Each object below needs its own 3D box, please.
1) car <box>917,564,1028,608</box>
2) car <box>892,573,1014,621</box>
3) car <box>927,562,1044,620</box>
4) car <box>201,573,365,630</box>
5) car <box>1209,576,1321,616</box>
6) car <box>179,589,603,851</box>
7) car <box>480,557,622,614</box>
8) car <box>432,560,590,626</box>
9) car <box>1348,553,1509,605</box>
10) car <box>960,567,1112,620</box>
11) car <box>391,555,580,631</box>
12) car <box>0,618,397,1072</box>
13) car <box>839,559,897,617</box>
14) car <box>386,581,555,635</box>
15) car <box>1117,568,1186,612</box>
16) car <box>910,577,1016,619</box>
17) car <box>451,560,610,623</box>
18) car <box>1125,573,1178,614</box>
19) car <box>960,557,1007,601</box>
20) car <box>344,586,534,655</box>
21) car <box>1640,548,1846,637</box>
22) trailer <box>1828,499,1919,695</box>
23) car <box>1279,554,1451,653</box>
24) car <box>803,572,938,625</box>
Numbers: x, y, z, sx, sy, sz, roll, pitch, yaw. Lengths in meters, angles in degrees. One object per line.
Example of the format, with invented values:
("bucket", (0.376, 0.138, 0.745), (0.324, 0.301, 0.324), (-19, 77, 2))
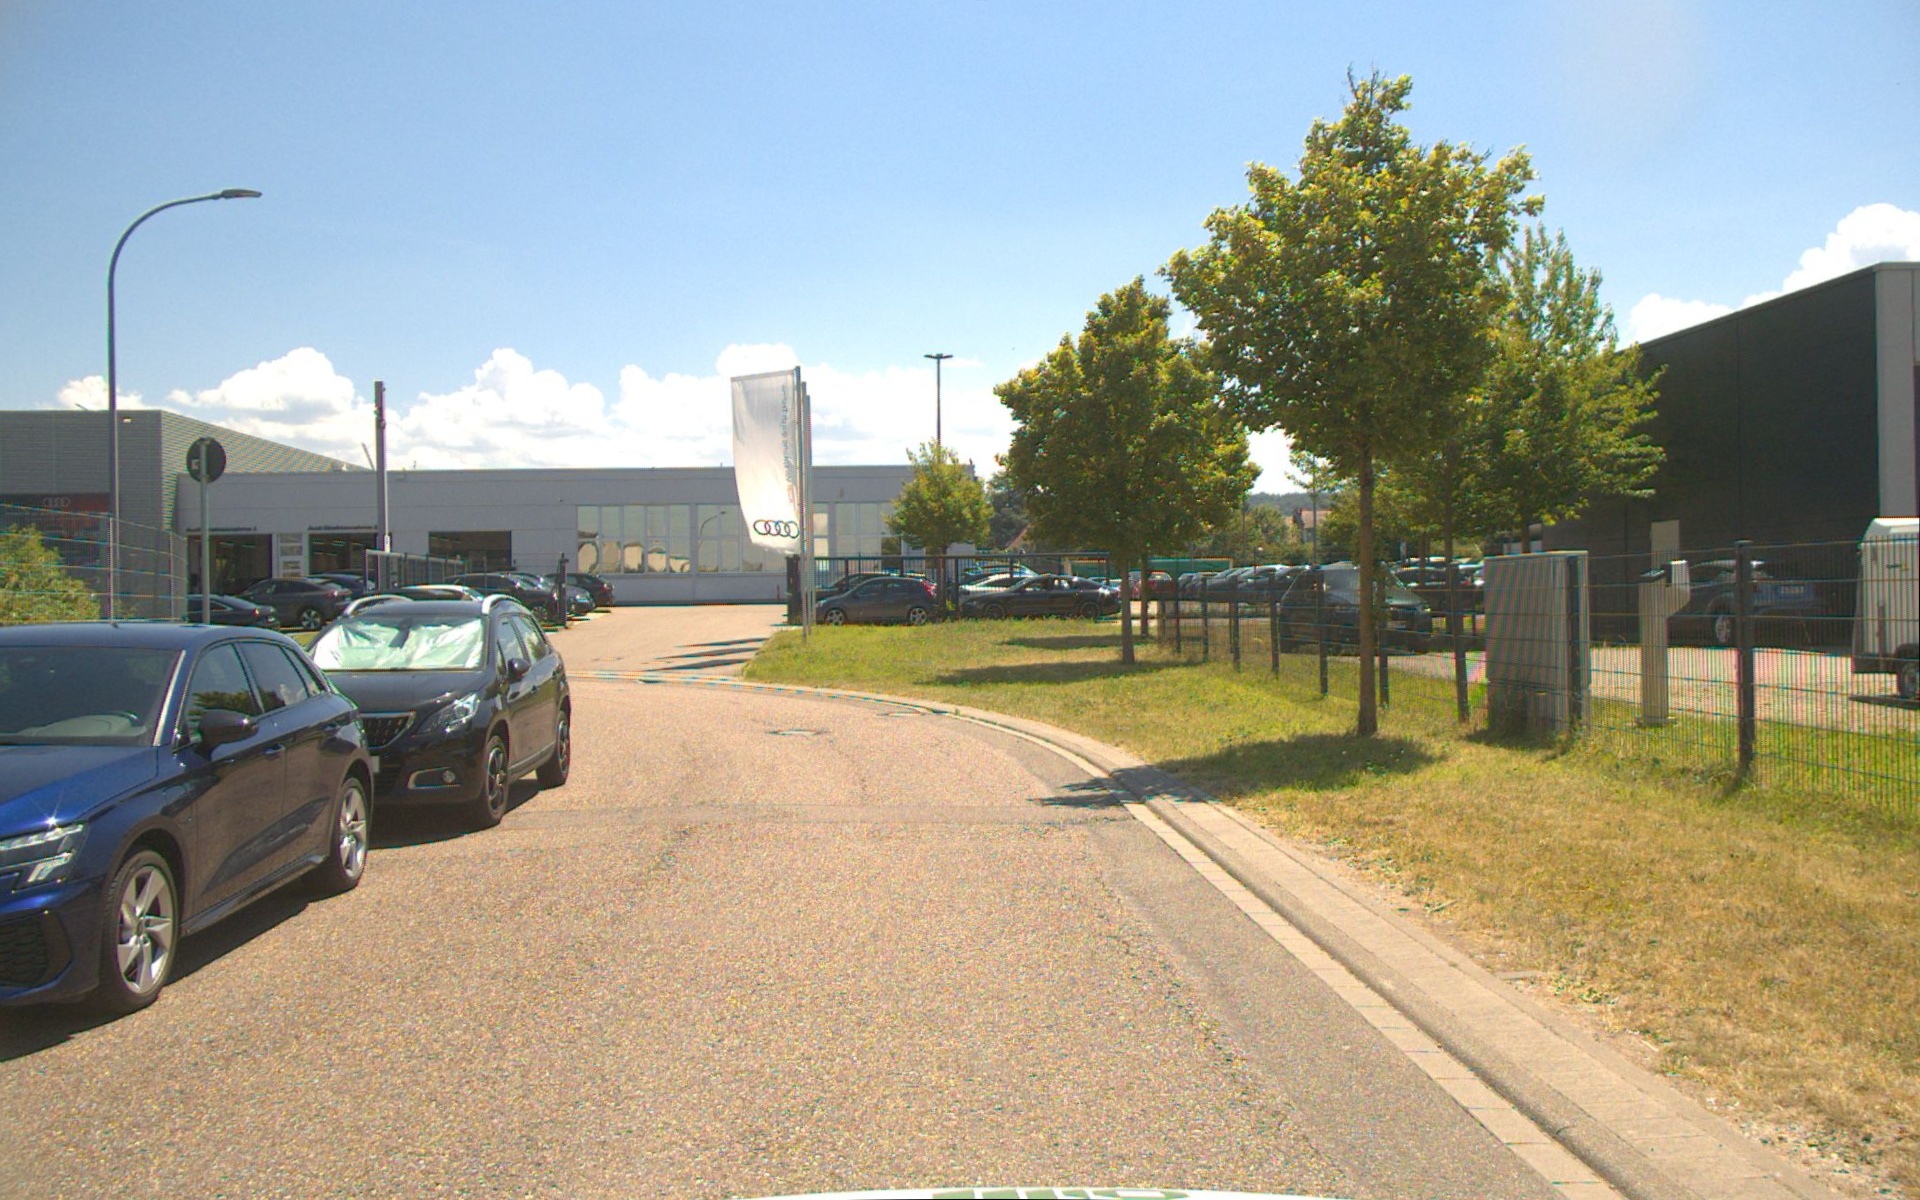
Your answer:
("car", (0.427, -0.494, 60.422), (3.908, 1.423, 1.998), (-1, -2, -4))
("car", (-0.261, -0.082, 54.468), (3.908, 1.423, 1.998), (-1, -2, -4))
("car", (0.863, -0.285, 57.724), (3.908, 1.859, 1.998), (-1, -2, -4))
("car", (-21.345, 0.061, 52.258), (4.351, 1.655, 1.998), (-1, -2, -4))
("car", (11.886, -0.148, 64.598), (3.908, 1.423, 1.998), (-1, -2, -4))
("car", (-3.994, 0.754, 12.417), (1.797, 1.573, 4.262), (-2, 0, -2))
("car", (-15.253, -0.538, 61.851), (4.786, 1.956, 1.999), (-1, 0, -3))
("car", (-14.364, -0.222, 53.091), (4.495, 1.956, 1.999), (-1, 0, -3))
("car", (14.533, -0.645, 51.448), (4.351, 1.423, 1.998), (-1, -2, -4))
("car", (2.240, -0.185, 49.716), (4.351, 1.423, 1.998), (-1, -2, -4))
("car", (-14.495, -0.217, 50.771), (5.212, 2.134, 1.999), (-1, 0, -3))
("car", (-3.918, 0.837, 7.363), (1.623, 1.442, 4.142), (-2, 0, -4))
("car", (-3.343, -0.411, 59.492), (1.954, 1.859, 3.996), (-1, -2, -4))
("car", (-14.177, 0.248, 48.108), (4.351, 1.423, 1.998), (-1, -2, -4))
("car", (7.069, -0.362, 61.397), (1.953, 1.423, 3.998), (-1, -2, -1))
("car", (0.086, -0.064, 63.326), (3.908, 1.423, 1.998), (-1, -2, -4))
("car", (-14.340, -0.288, 55.400), (4.786, 1.956, 1.999), (-1, 0, -3))
("car", (9.455, -0.287, 82.085), (1.954, 1.859, 3.997), (-1, -2, -3))
("car", (1.089, -0.962, 78.451), (1.954, 1.859, 3.997), (-1, -2, -3))
("car", (-13.512, 0.546, 43.123), (4.351, 1.655, 1.998), (-1, -2, -4))
("car", (13.860, -0.145, 29.514), (1.702, 1.431, 3.694), (-2, 1, -4))
("trailer", (10.680, -0.056, 17.297), (1.463, 2.041, 3.264), (-2, 2, -1))
("car", (6.933, 0.051, 28.701), (1.702, 1.549, 3.891), (-1, 0, -5))
("car", (-2.674, -0.039, 49.463), (3.908, 1.423, 1.998), (-1, -2, -4))
